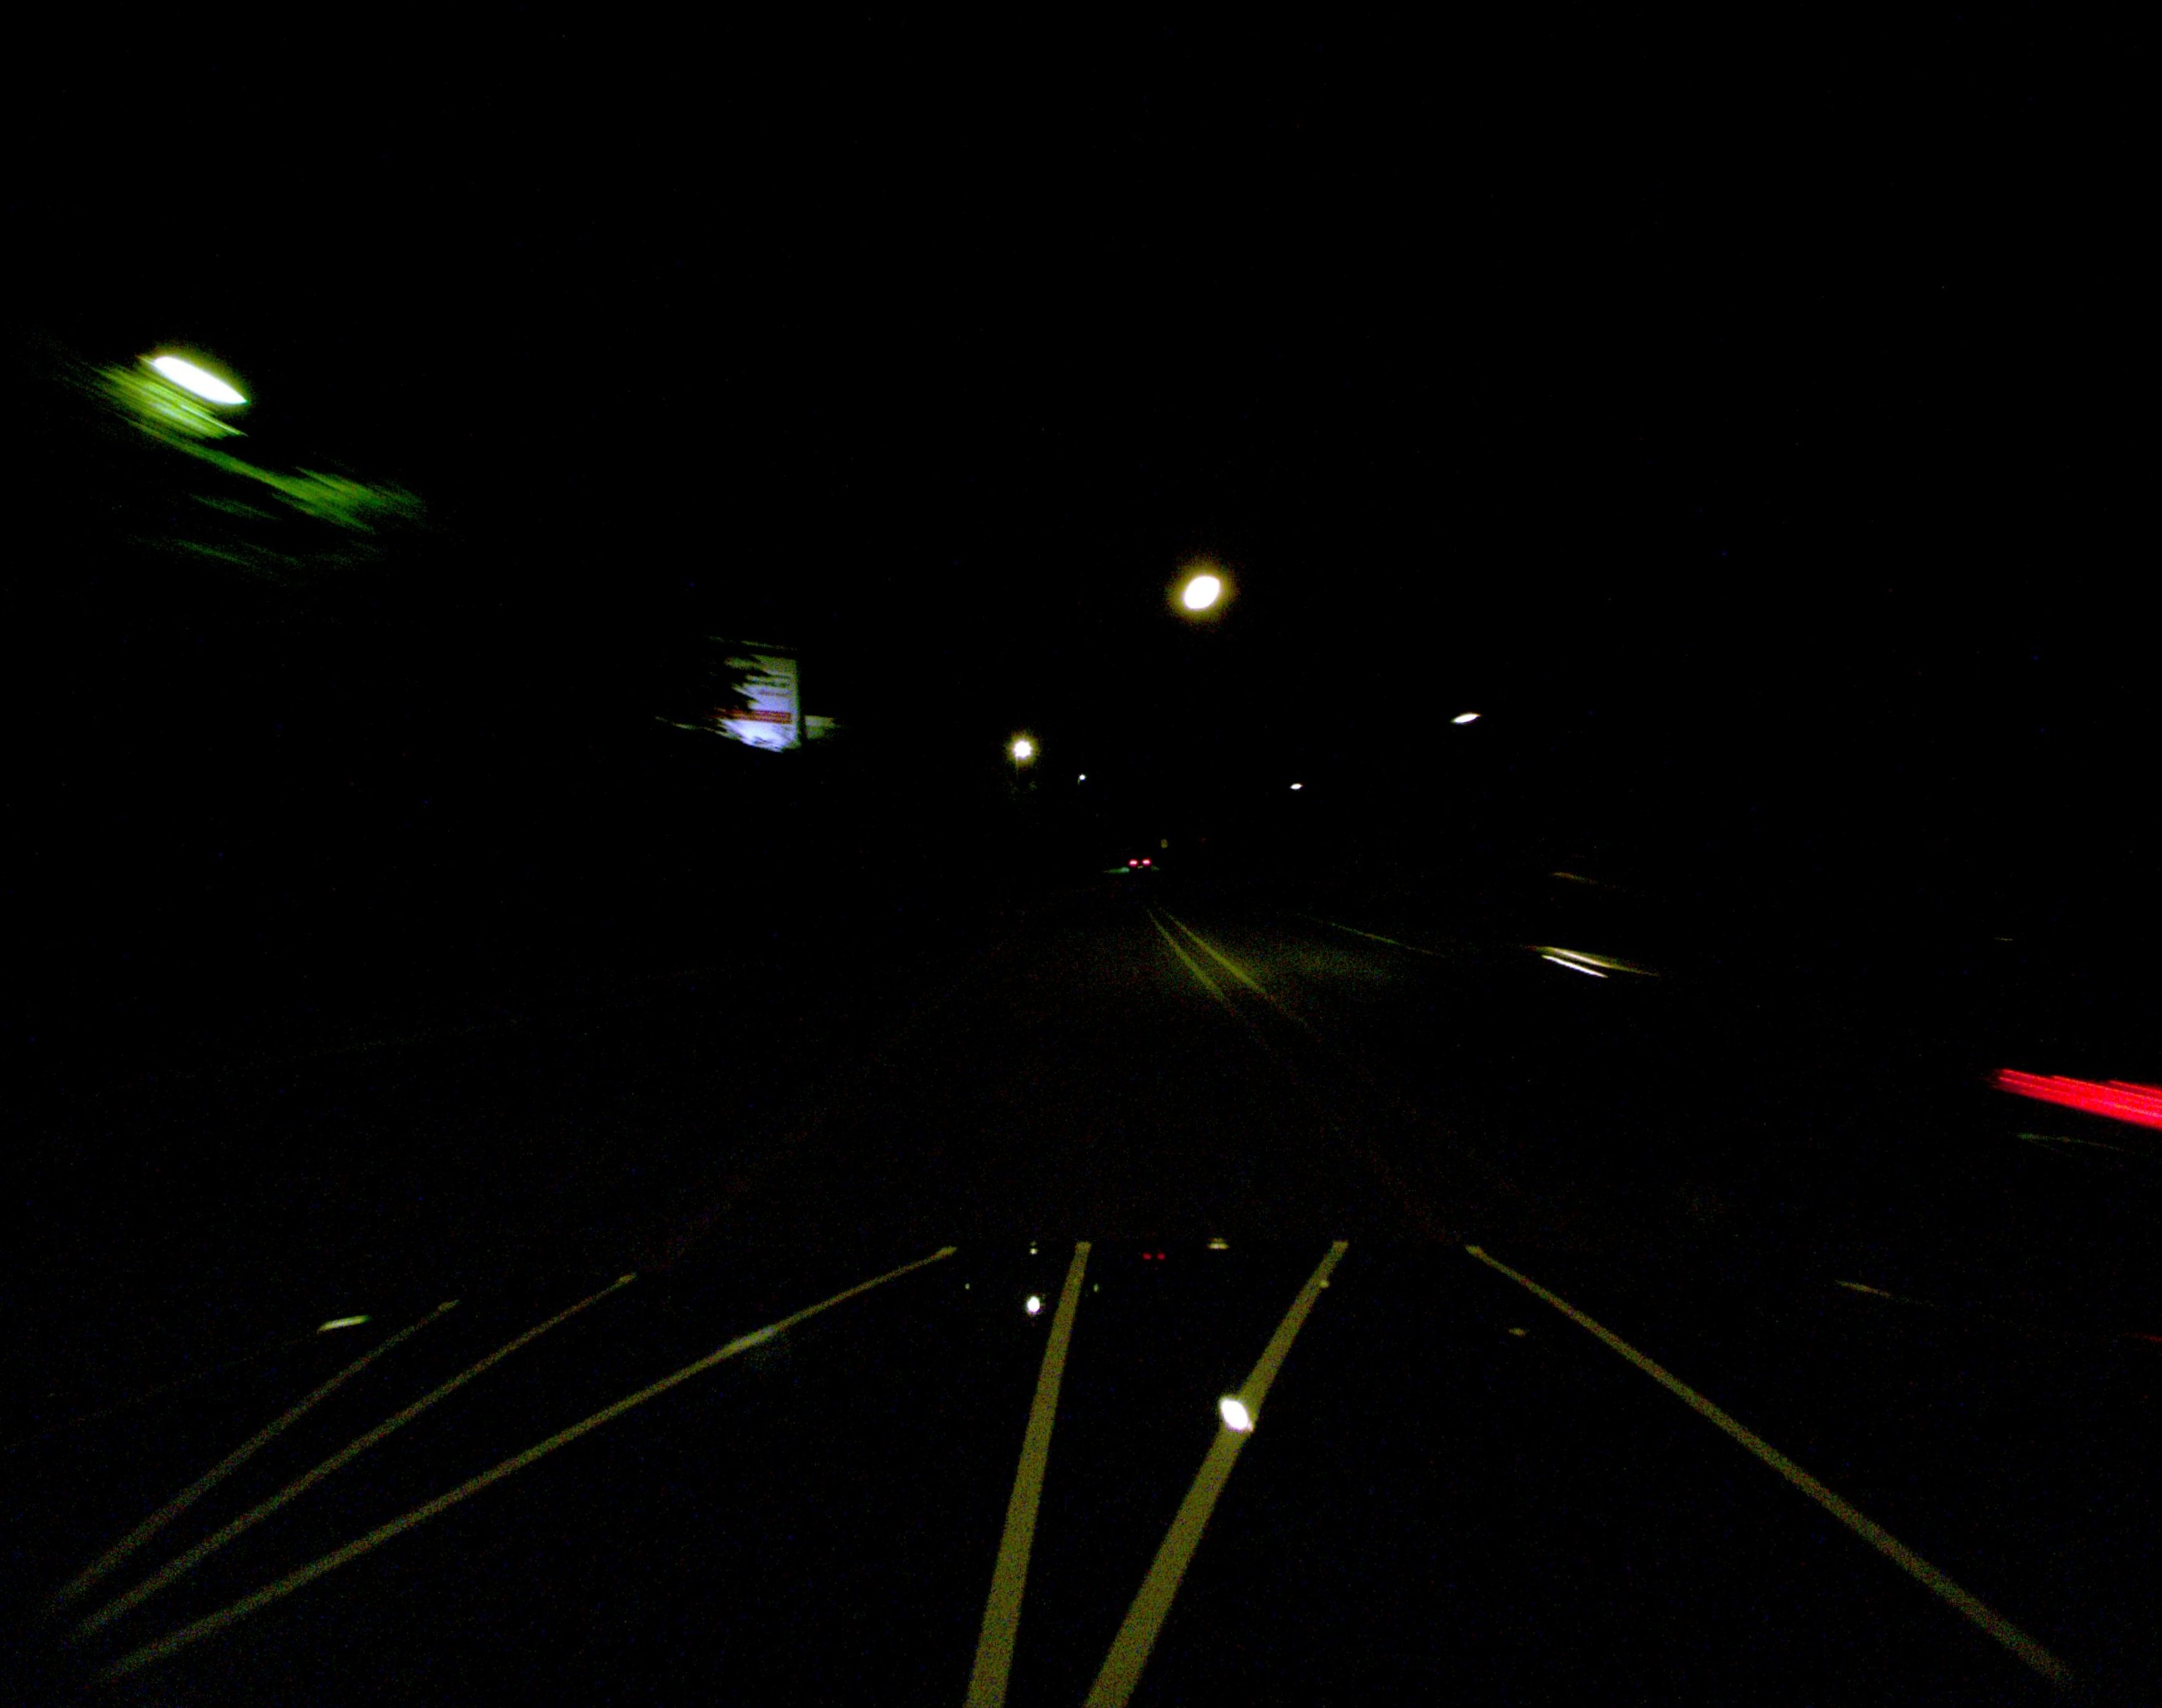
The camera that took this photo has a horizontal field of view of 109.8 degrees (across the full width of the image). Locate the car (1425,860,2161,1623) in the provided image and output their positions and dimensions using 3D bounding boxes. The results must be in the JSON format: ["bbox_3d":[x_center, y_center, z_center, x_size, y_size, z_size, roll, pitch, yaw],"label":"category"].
[{"bbox_3d":[3.151,0.842,2.851,1.792,1.439,4.171,-3,1,0],"label":"car"}]

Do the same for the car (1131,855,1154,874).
[{"bbox_3d":[5.776,0.973,71.488,1.885,1.545,4.219,-2,1,8],"label":"car"}]
